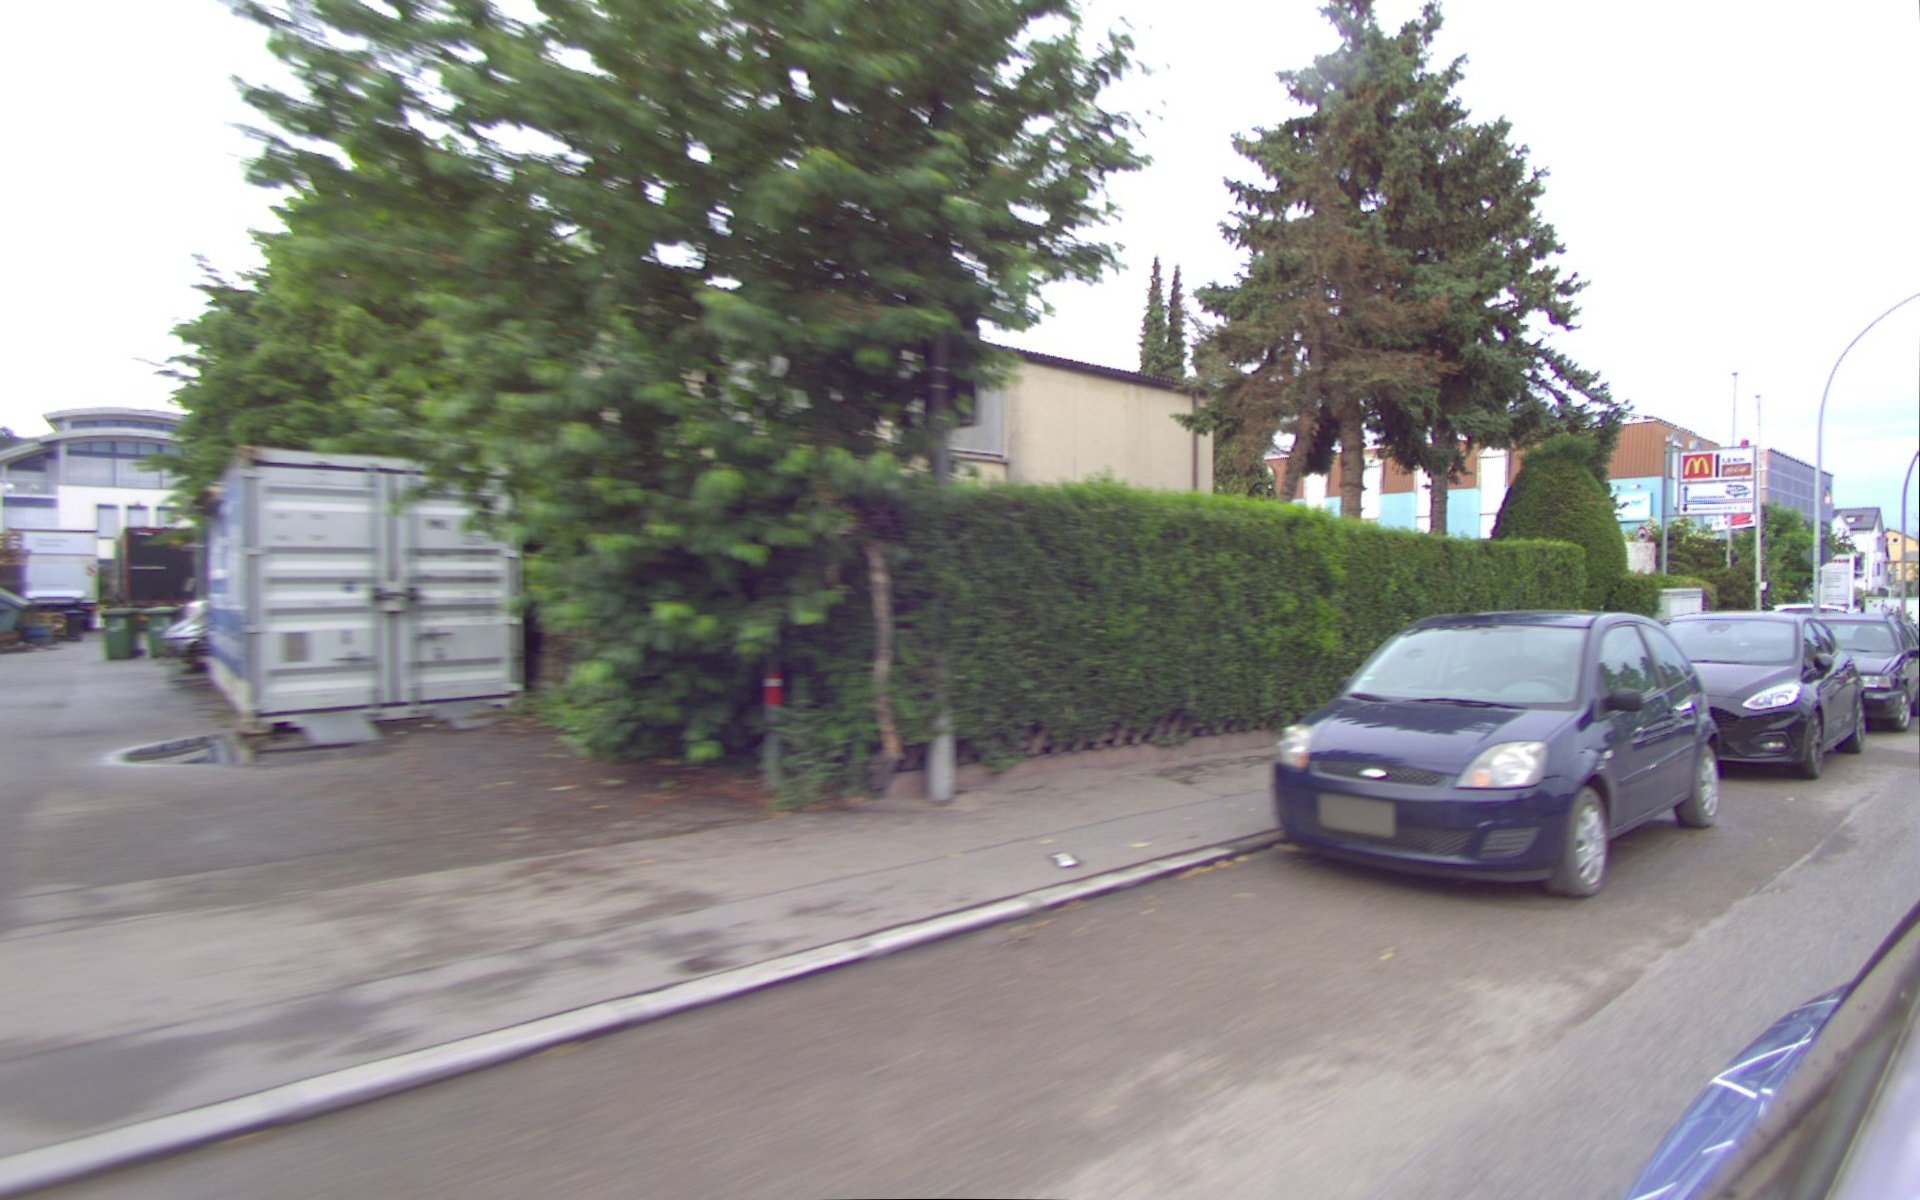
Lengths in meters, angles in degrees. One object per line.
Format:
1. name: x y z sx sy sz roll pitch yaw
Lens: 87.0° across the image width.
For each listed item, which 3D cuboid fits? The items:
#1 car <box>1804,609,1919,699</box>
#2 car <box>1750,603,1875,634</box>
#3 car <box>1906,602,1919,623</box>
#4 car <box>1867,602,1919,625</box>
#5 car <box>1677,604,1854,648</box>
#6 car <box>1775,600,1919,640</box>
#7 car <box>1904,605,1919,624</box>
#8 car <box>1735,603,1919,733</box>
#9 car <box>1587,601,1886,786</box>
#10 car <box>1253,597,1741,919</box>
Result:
1. car: 15.711 0.842 17.158 4.023 1.358 1.591 0 -2 -43
2. car: 41.278 0.877 49.070 1.848 1.410 4.420 1 -1 -42
3. car: 78.616 1.004 80.857 1.947 1.696 4.232 0 0 -41
4. car: 60.723 0.860 64.661 1.602 1.448 3.993 0 0 -41
5. car: 25.034 0.773 31.556 1.915 1.282 3.996 0 0 -38
6. car: 35.004 0.750 39.789 1.870 1.494 4.345 0 0 -41
7. car: 76.936 1.151 79.418 1.800 1.509 3.975 0 0 -39
8. car: 12.045 0.784 13.751 4.697 1.437 1.658 -1 0 -43
9. car: 7.740 0.766 9.966 3.763 1.467 1.659 1 -1 -42
10. car: 3.553 0.726 6.397 3.741 1.457 1.489 0 -1 -41
